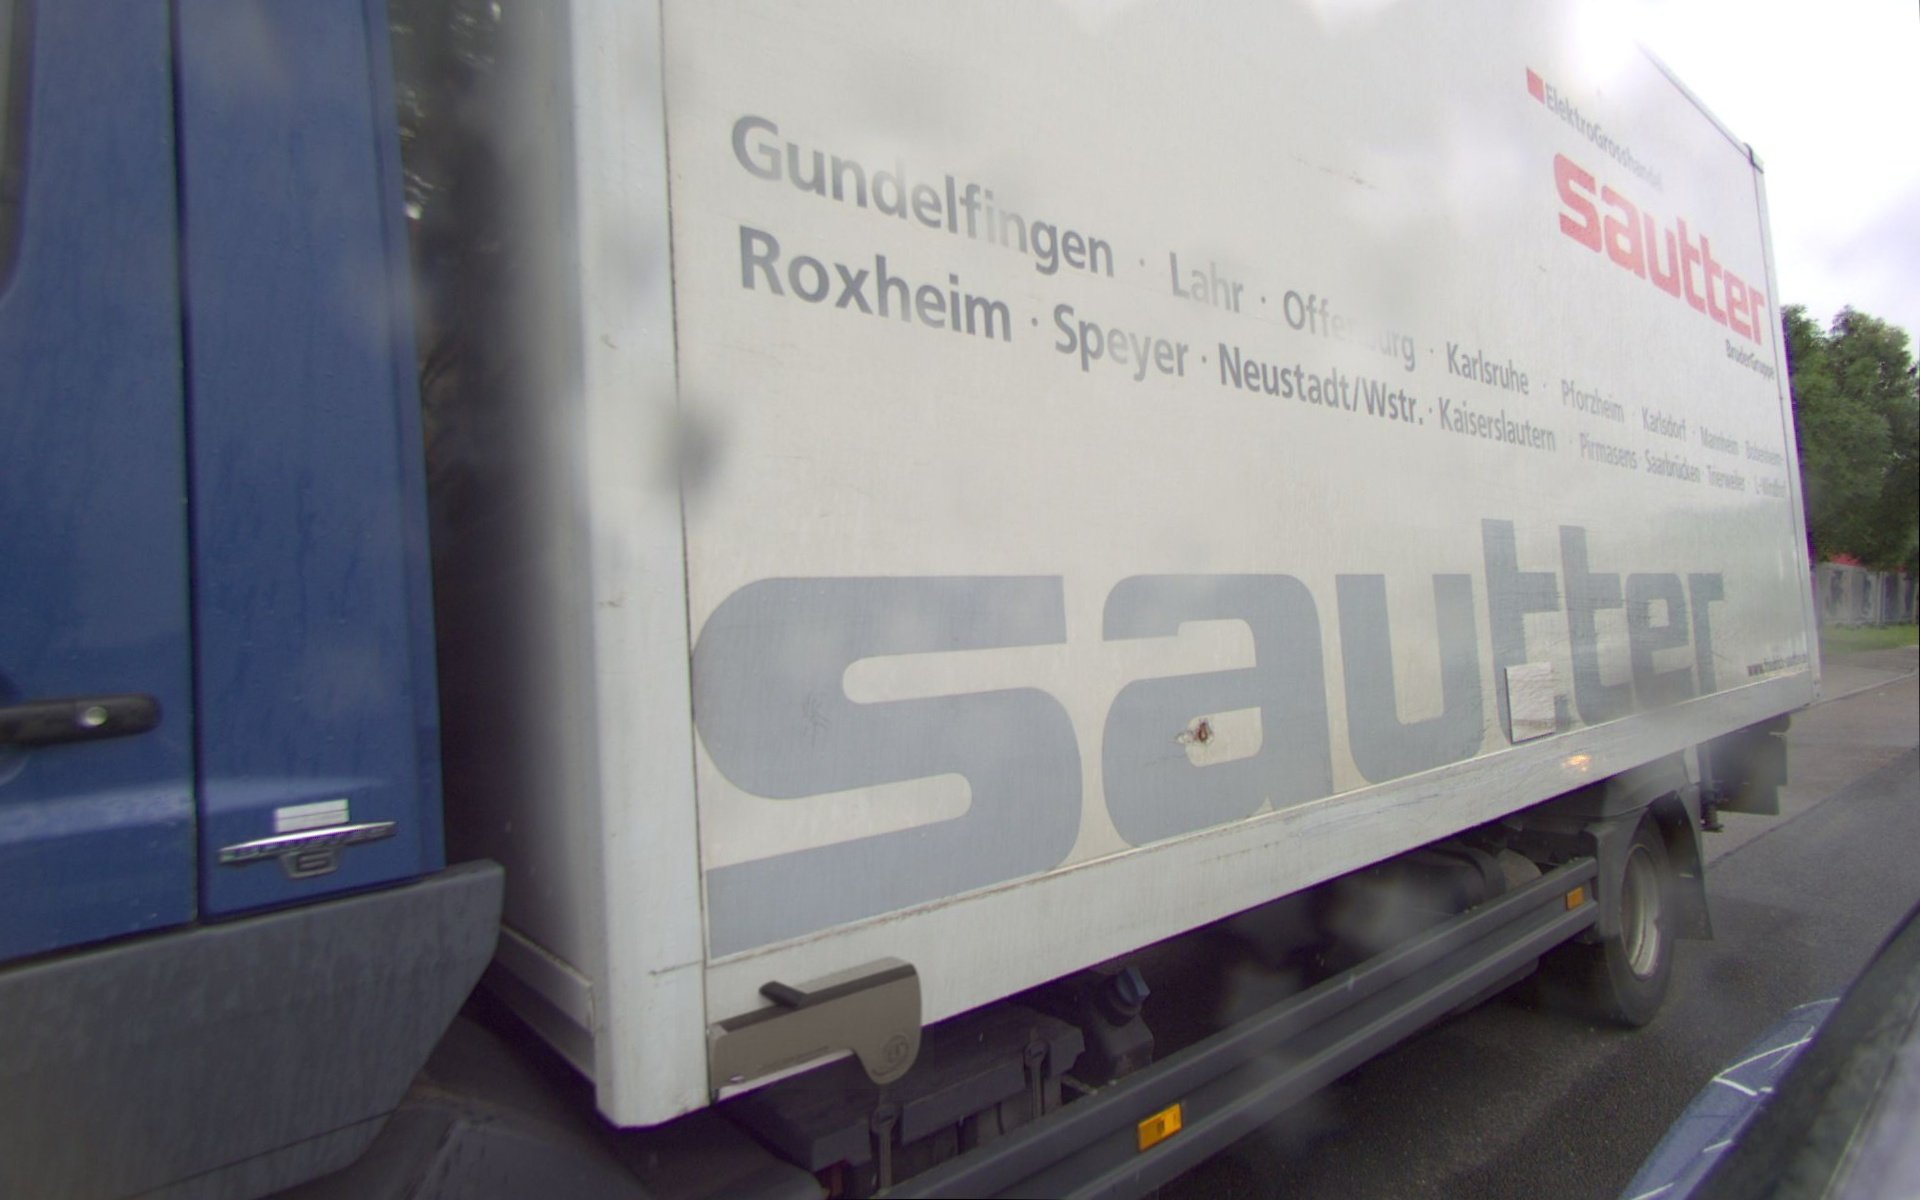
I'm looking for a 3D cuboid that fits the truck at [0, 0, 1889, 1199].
[{"bbox_3d":[0.539,-0.374,3.431,7.865,3.740,2.676,0,-2,-40],"label":"truck"}]
